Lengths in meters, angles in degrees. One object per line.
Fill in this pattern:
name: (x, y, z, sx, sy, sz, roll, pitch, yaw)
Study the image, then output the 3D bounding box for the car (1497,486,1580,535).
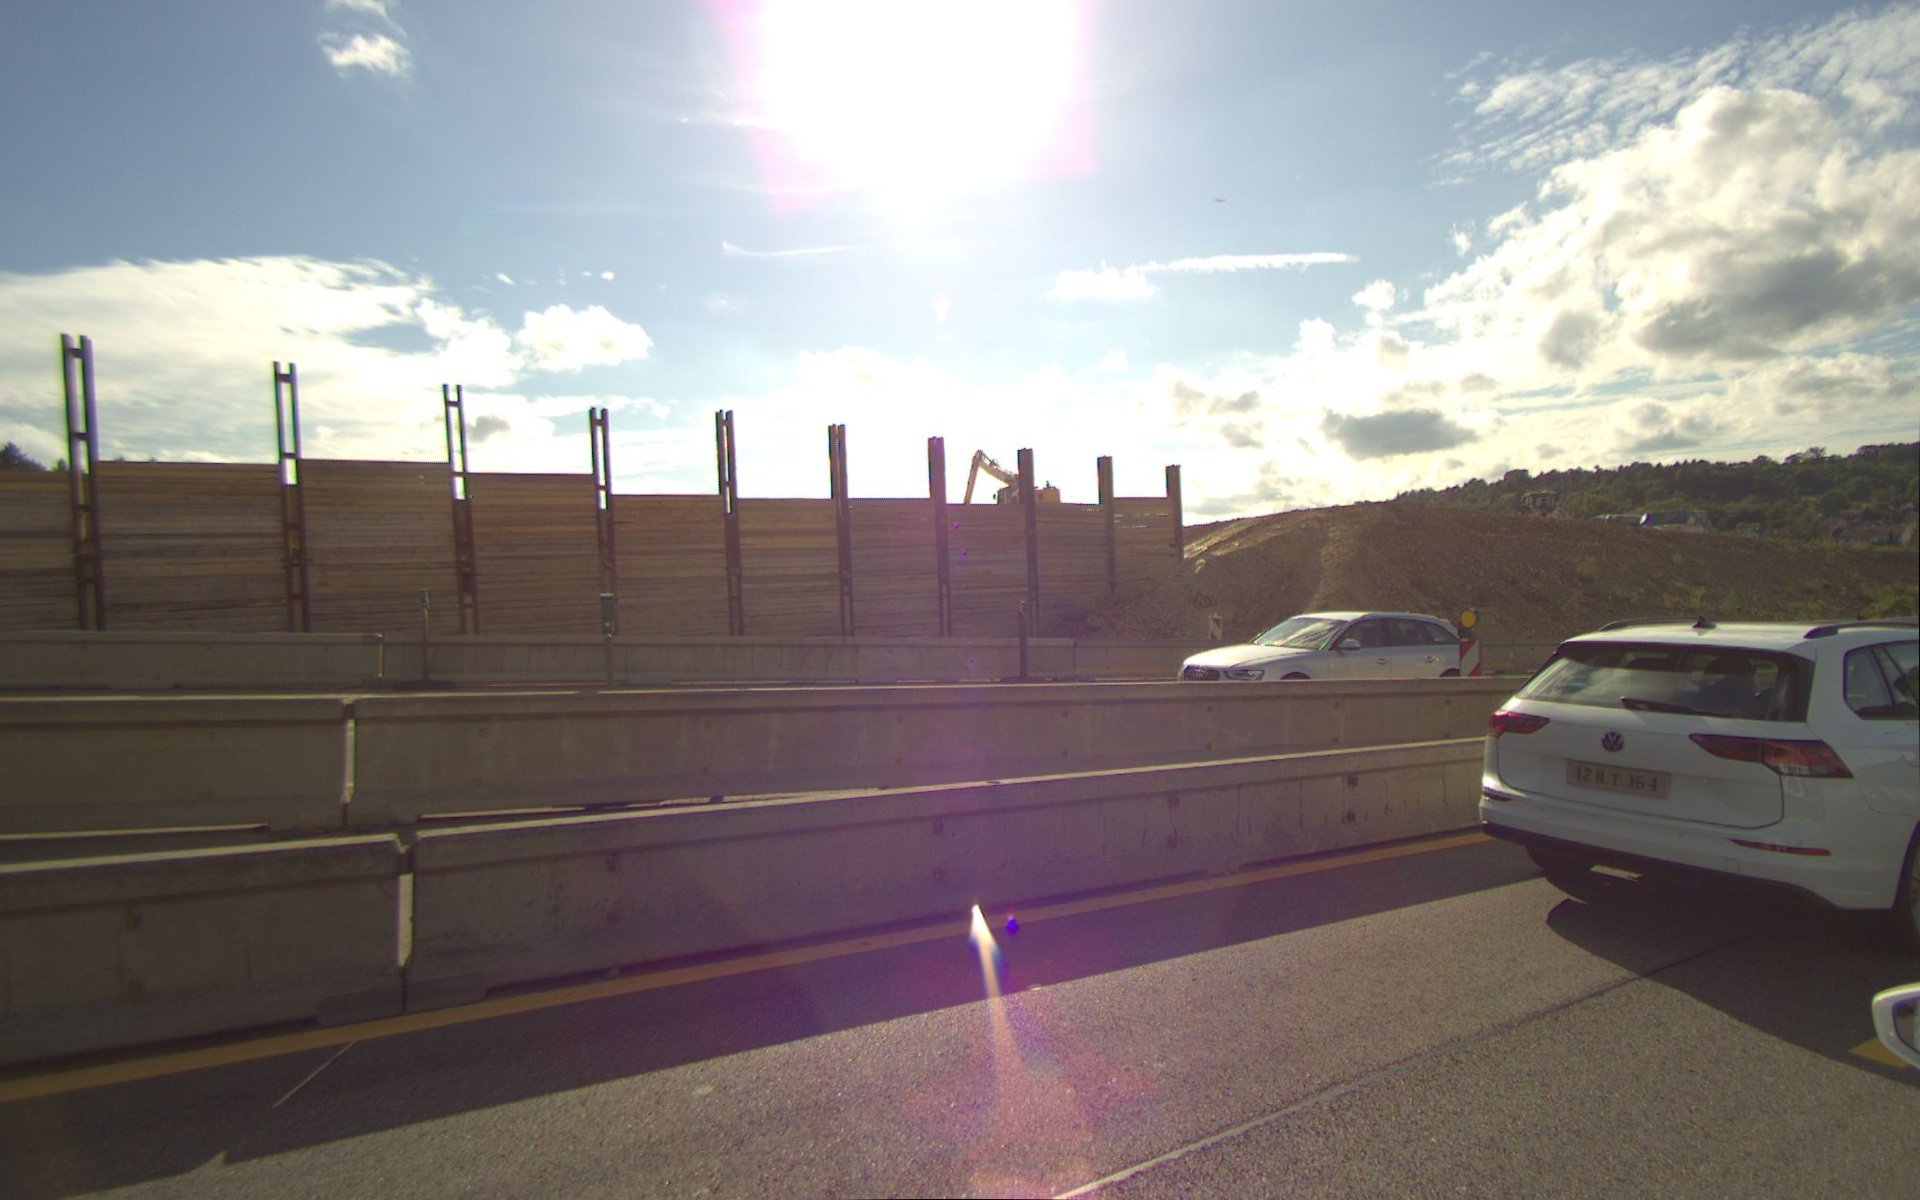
car: (34.458, -5.271, 59.793, 5.261, 2.167, 1.984, 3, -5, -31)

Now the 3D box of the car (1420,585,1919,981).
car: (4.843, 0.801, 5.720, 4.463, 1.510, 1.762, 3, -1, -30)

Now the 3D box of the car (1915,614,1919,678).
car: (23.869, 1.078, 22.950, 3.754, 1.459, 1.748, 1, 0, -26)

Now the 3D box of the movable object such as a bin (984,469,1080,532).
movable object such as a bin: (4.647, -6.472, 66.191, 4.440, 3.314, 5.741, 2, 0, -18)

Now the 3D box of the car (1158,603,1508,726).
car: (5.162, 0.820, 13.898, 4.493, 1.459, 1.848, 1, 0, -23)
